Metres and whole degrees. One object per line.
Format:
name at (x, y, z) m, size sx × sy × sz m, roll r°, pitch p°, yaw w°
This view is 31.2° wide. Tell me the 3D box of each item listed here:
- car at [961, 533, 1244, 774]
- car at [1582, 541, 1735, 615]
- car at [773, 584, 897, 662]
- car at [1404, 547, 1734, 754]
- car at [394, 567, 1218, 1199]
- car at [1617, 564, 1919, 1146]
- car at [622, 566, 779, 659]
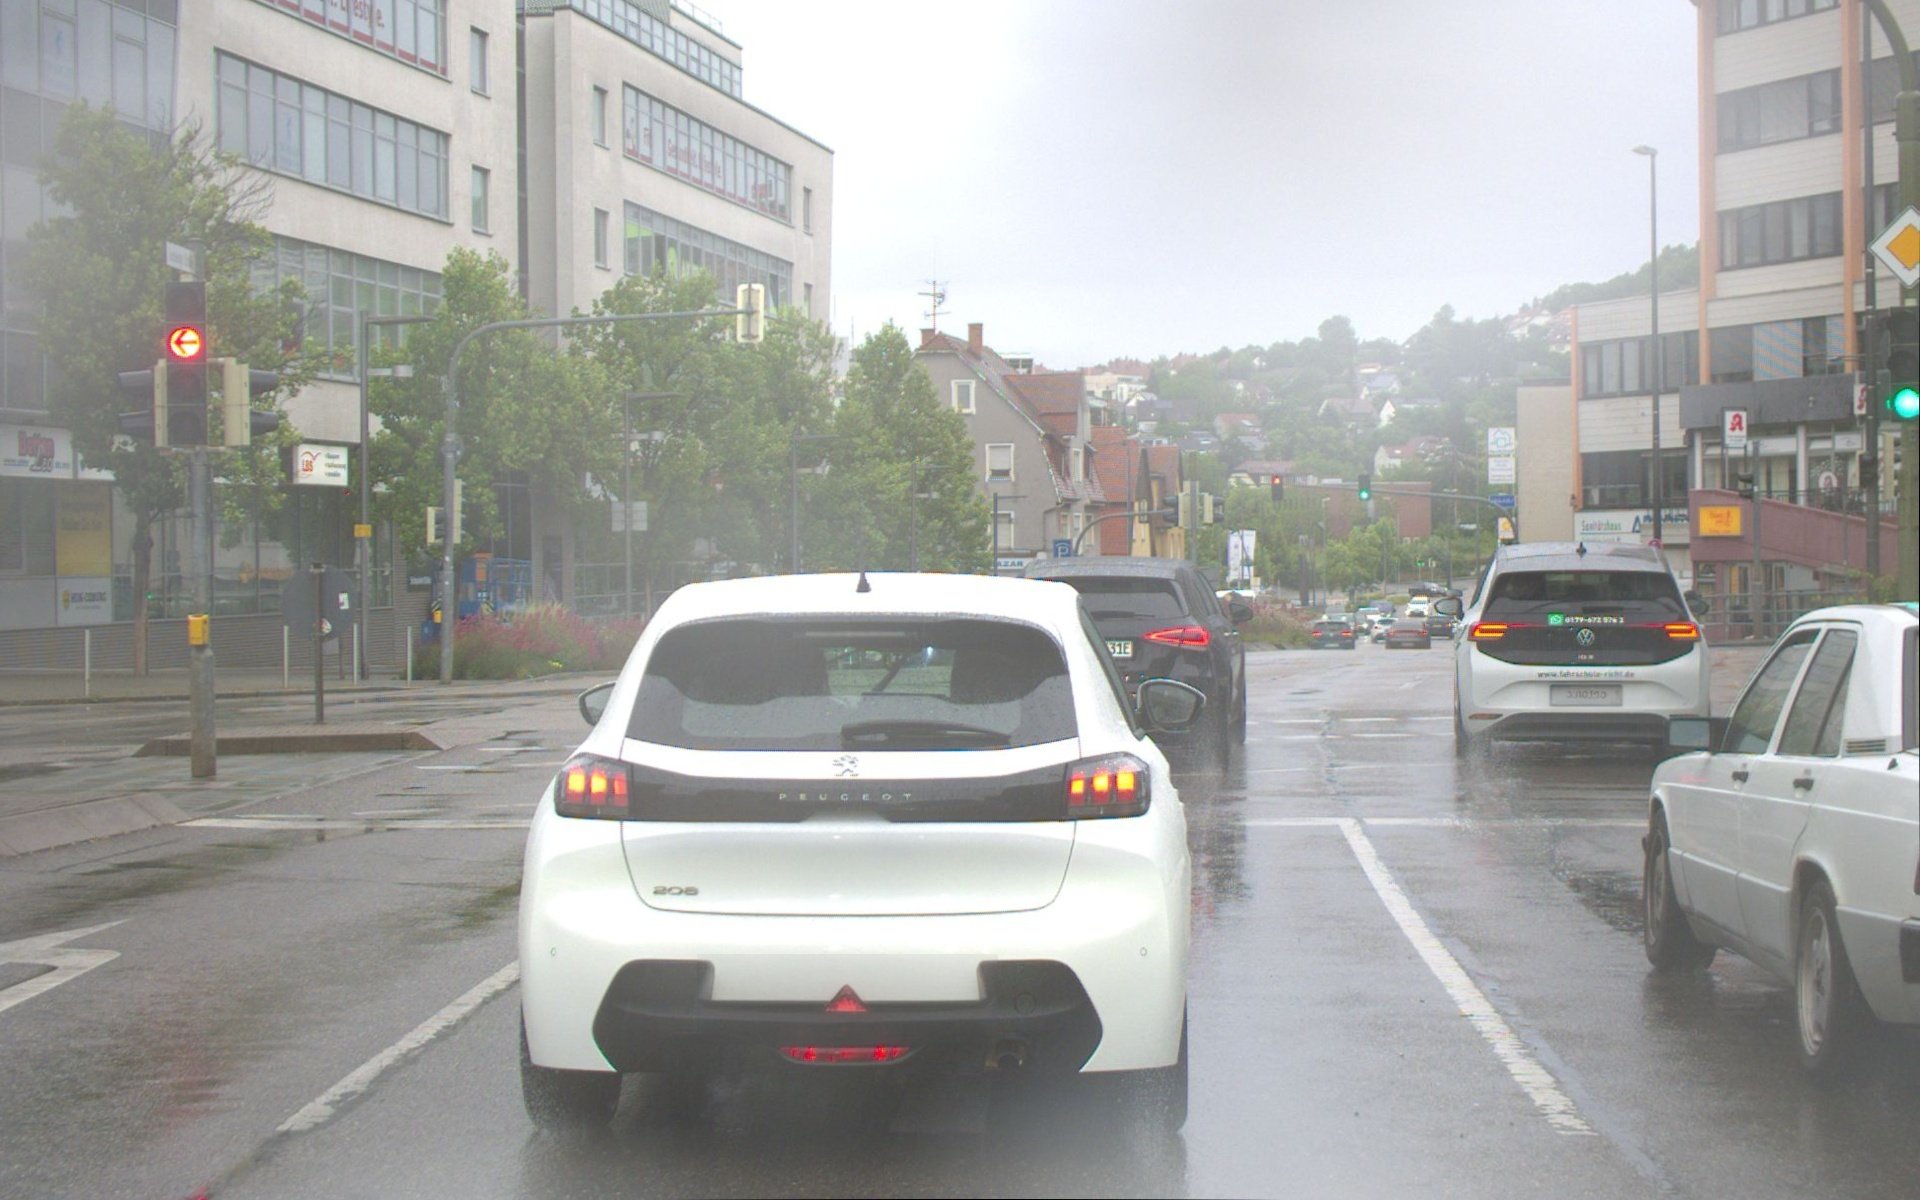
car at (1.049, 0.313, 24.454) m, size 1.815 × 1.524 × 3.812 m, roll 2°, pitch 1°, yaw 4°
car at (21.869, -0.678, 107.834) m, size 1.993 × 2.219 × 4.976 m, roll -2°, pitch 0°, yaw -27°
car at (-2.797, 0.501, 77.800) m, size 1.774 × 1.588 × 4.586 m, roll -4°, pitch -1°, yaw 10°
car at (4.346, 0.332, 25.020) m, size 1.912 × 1.395 × 3.457 m, roll 0°, pitch 0°, yaw 2°
car at (-0.228, 0.647, 9.990) m, size 1.872 × 1.457 × 3.872 m, roll 0°, pitch 1°, yaw 5°
car at (3.182, 0.646, 10.638) m, size 1.634 × 1.443 × 4.268 m, roll 1°, pitch 0°, yaw 3°
car at (-4.774, 0.196, 63.933) m, size 1.920 × 1.626 × 4.901 m, roll 0°, pitch 1°, yaw 8°
